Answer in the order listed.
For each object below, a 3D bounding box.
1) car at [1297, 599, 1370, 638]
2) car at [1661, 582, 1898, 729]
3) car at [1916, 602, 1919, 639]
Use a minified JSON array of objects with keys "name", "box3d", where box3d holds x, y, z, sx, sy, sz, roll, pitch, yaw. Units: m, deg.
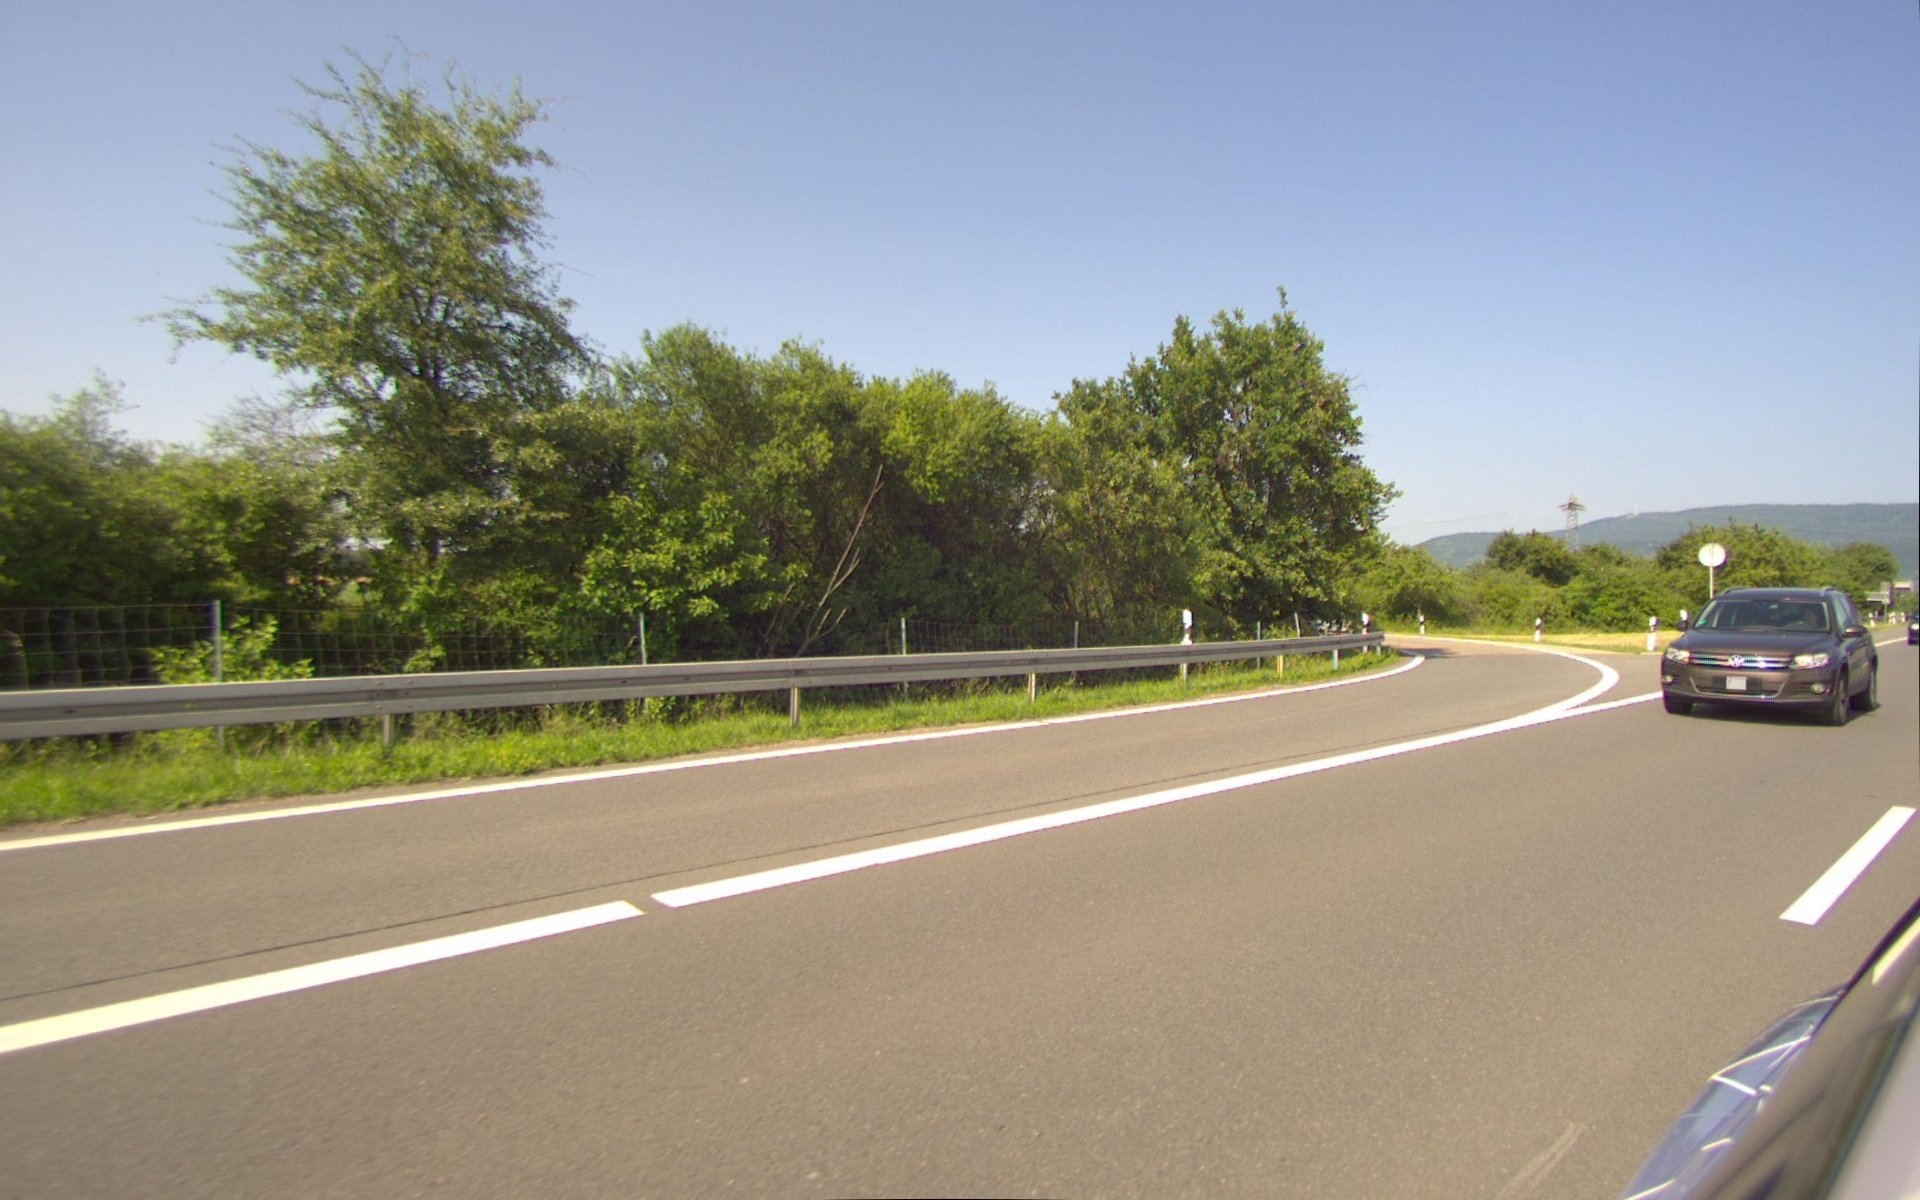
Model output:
[{"name":"car","box3d":[19.316,0.930,52.551,1.827,1.686,4.008,-2,3,-9]},{"name":"car","box3d":[10.983,0.606,13.464,4.075,1.667,1.788,0,1,-41]},{"name":"car","box3d":[35.636,0.716,36.414,3.934,1.264,1.598,0,0,-44]}]
